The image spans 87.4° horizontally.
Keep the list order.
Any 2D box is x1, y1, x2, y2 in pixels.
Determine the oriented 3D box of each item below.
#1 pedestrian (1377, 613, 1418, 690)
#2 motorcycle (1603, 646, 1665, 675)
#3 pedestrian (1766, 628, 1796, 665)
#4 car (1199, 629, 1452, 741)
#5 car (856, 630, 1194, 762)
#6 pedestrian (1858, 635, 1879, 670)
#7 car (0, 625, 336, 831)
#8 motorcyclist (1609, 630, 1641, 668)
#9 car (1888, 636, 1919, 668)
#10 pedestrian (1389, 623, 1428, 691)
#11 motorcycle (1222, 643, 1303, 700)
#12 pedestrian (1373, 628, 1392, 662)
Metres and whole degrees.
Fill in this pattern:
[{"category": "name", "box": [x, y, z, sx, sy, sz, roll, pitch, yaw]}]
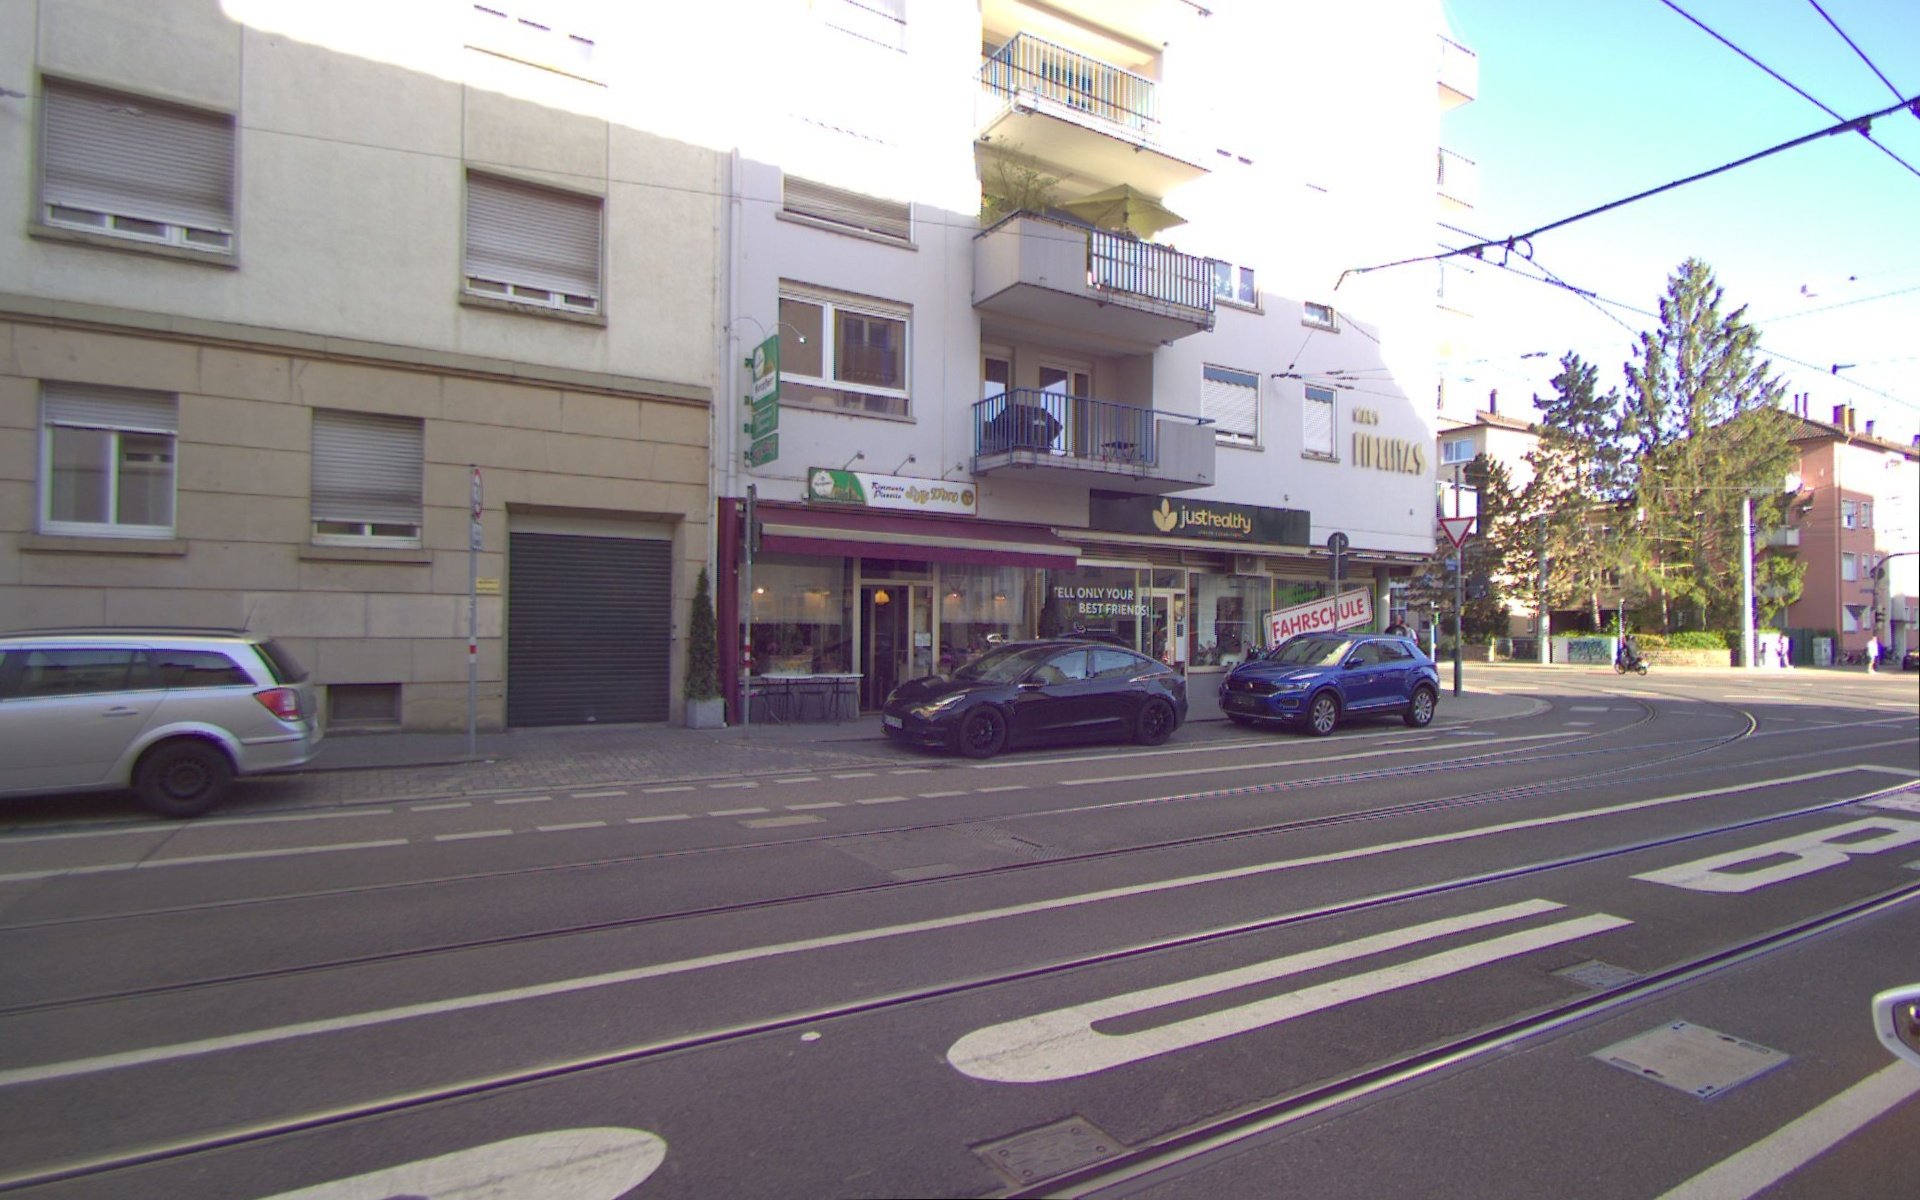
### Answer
[{"category": "pedestrian", "box": [11.272, 1.333, 25.892, 0.726, 1.925, 0.573, 3, -2, -13]}, {"category": "motorcycle", "box": [27.457, 2.462, 40.929, 0.846, 1.061, 1.930, 2, 0, -25]}, {"category": "pedestrian", "box": [39.183, 2.214, 47.947, 0.769, 1.744, 0.704, 2, 0, -3]}, {"category": "car", "box": [6.076, 1.293, 16.572, 4.192, 1.524, 1.758, 1, 1, -33]}, {"category": "car", "box": [0.949, 1.222, 13.766, 4.394, 1.494, 1.760, 2, 0, -31]}, {"category": "pedestrian", "box": [41.358, 2.381, 45.735, 0.567, 1.589, 0.514, 2, 0, -30]}, {"category": "car", "box": [-7.731, 0.987, 8.305, 4.323, 1.474, 1.715, 2, 1, -33]}, {"category": "motorcyclist", "box": [27.312, 1.999, 41.273, 0.846, 1.508, 0.724, 2, 0, -25]}, {"category": "car", "box": [48.166, 2.657, 49.794, 4.393, 1.450, 2.142, 4, -1, -33]}, {"category": "pedestrian", "box": [12.226, 1.533, 27.373, 0.653, 1.816, 0.733, 1, -1, -24]}, {"category": "motorcycle", "box": [6.459, 1.507, 21.423, 1.776, 1.149, 0.603, 2, 0, -32]}, {"category": "pedestrian", "box": [24.477, 2.599, 58.173, 0.776, 1.911, 0.691, 2, 0, -45]}]
